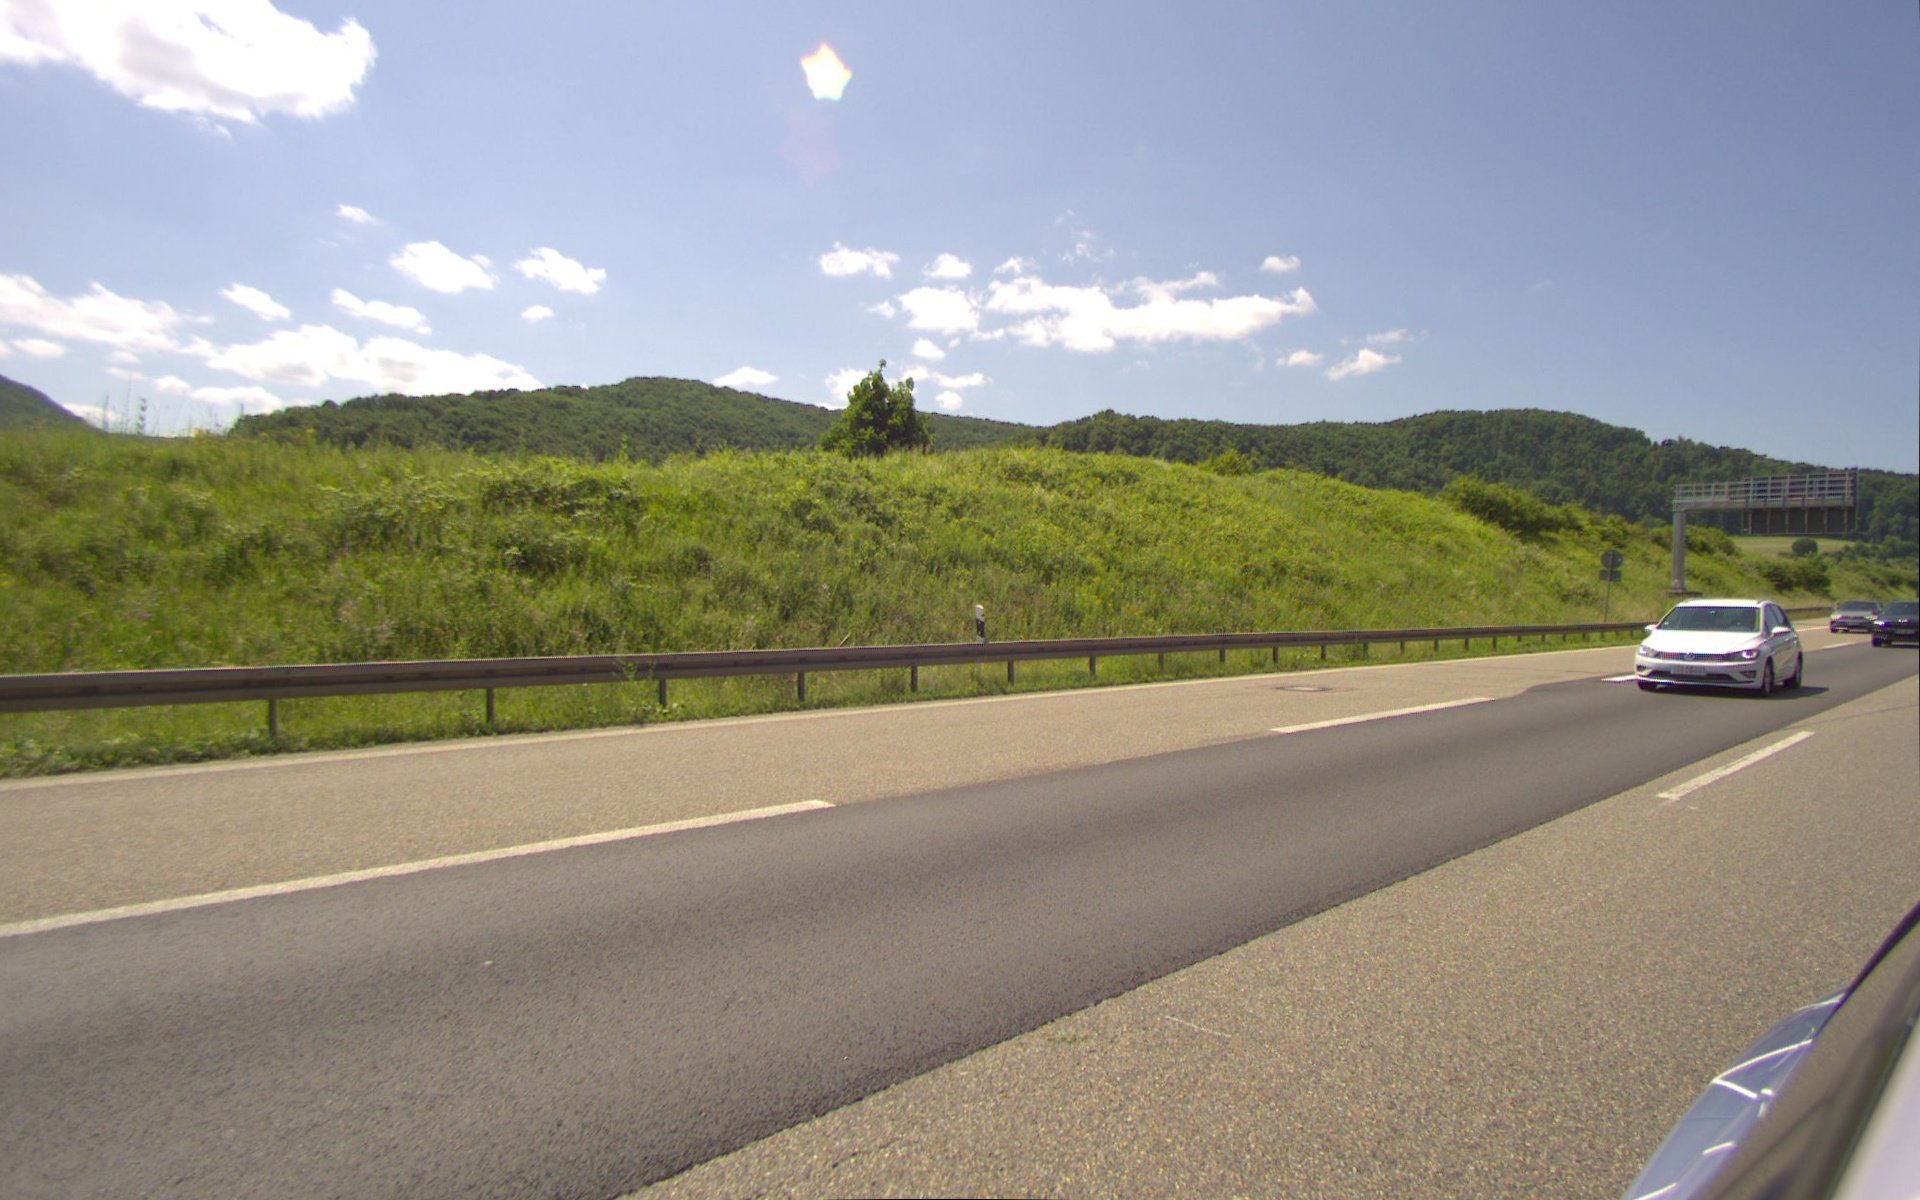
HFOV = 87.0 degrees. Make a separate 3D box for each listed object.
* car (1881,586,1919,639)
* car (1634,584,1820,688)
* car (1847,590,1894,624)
[{"bbox_3d":[33.967,0.430,35.653,4.101,1.794,1.891,0,1,-43],"label":"car"},{"bbox_3d":[13.127,0.531,17.249,3.984,1.560,1.775,0,0,-41],"label":"car"},{"bbox_3d":[45.421,0.312,50.453,1.679,1.615,4.183,0,0,43],"label":"car"}]
